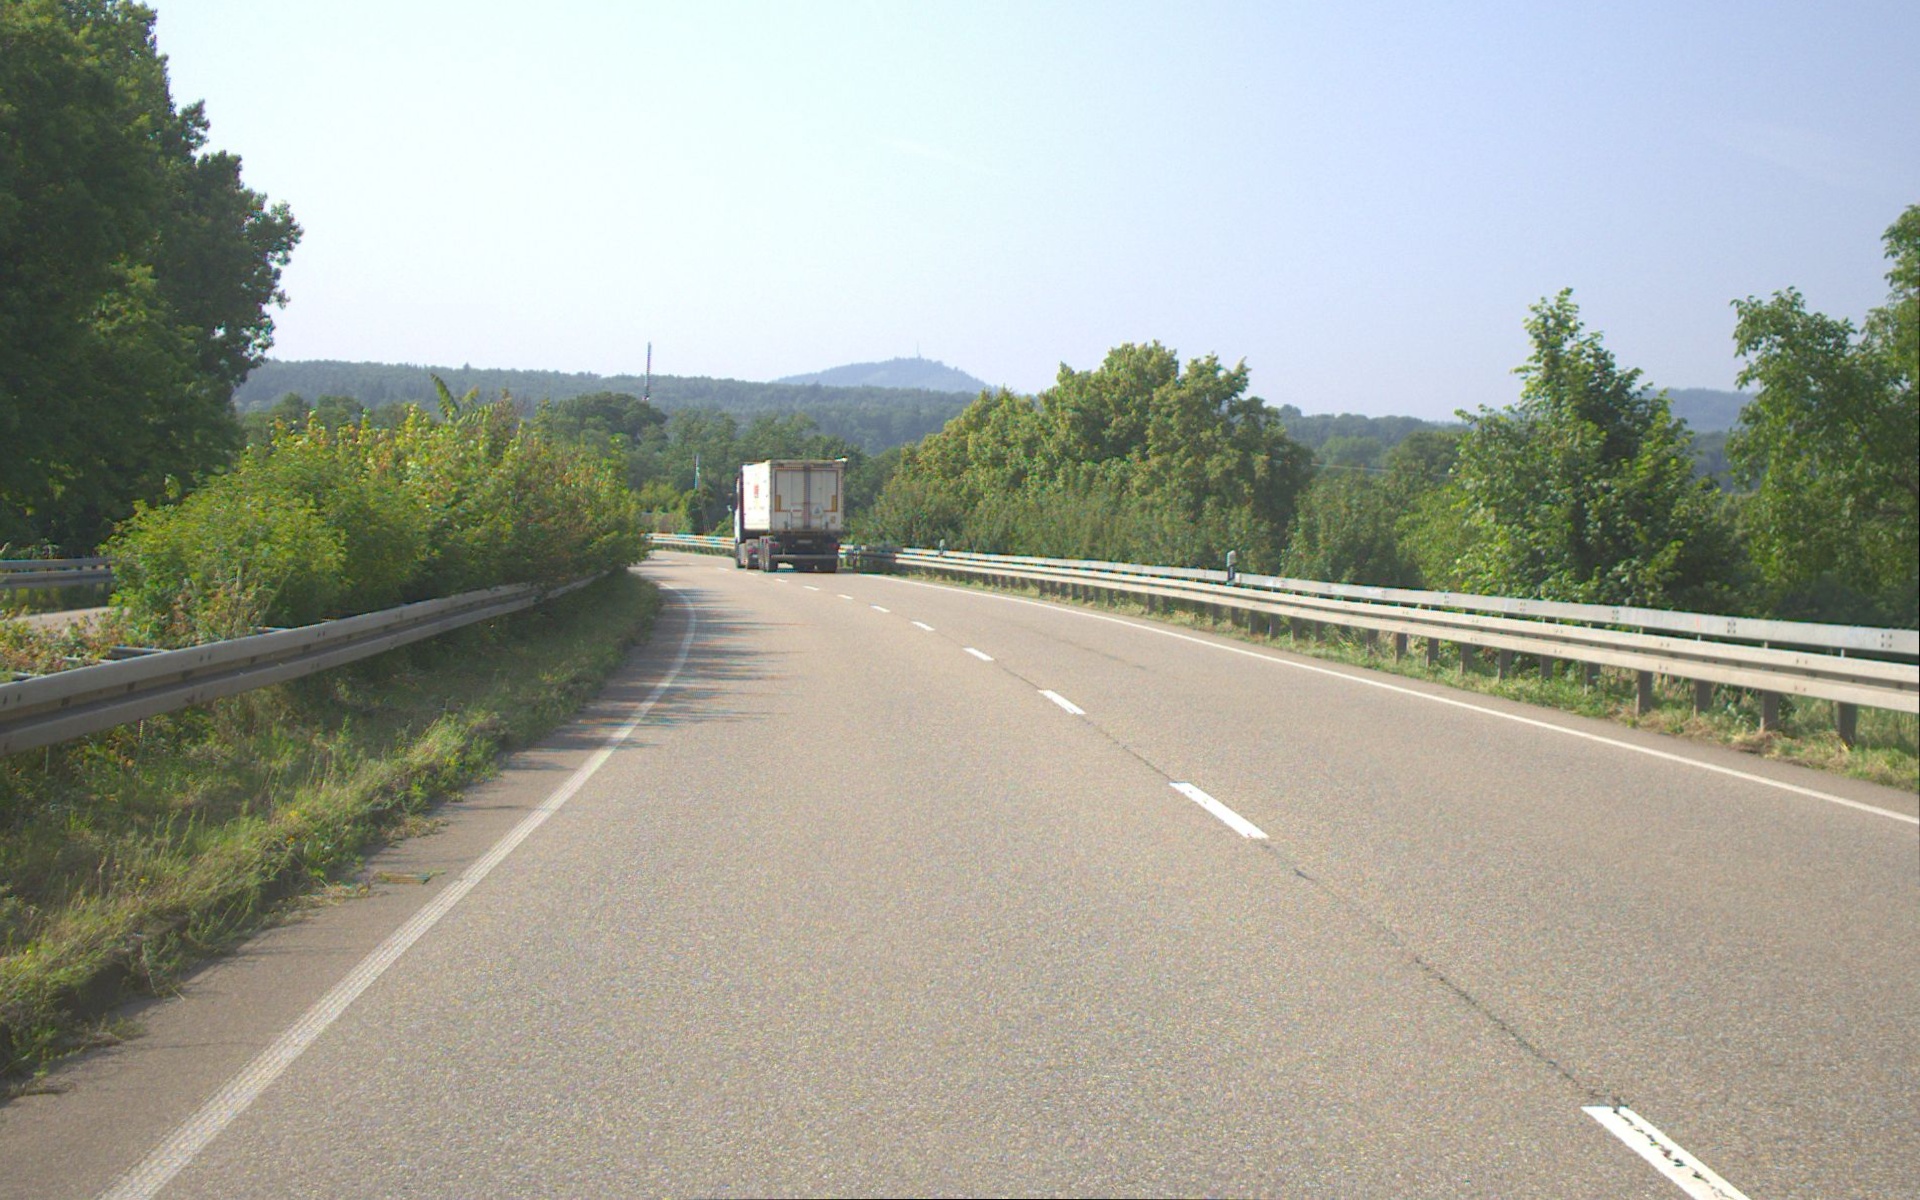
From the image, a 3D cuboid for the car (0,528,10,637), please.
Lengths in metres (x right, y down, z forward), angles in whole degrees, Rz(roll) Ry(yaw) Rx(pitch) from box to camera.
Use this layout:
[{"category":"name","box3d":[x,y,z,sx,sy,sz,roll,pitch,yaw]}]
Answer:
[{"category":"car","box3d":[-13.090,-0.222,43.079,1.598,1.414,3.532,1,0,-4]}]

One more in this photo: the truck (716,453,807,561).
[{"category":"truck","box3d":[-7.383,-3.465,127.387,2.658,3.882,5.650,0,2,-10]}]

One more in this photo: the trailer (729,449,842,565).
[{"category":"trailer","box3d":[-6.235,-3.287,121.326,2.678,3.893,9.675,0,2,-11]}]
